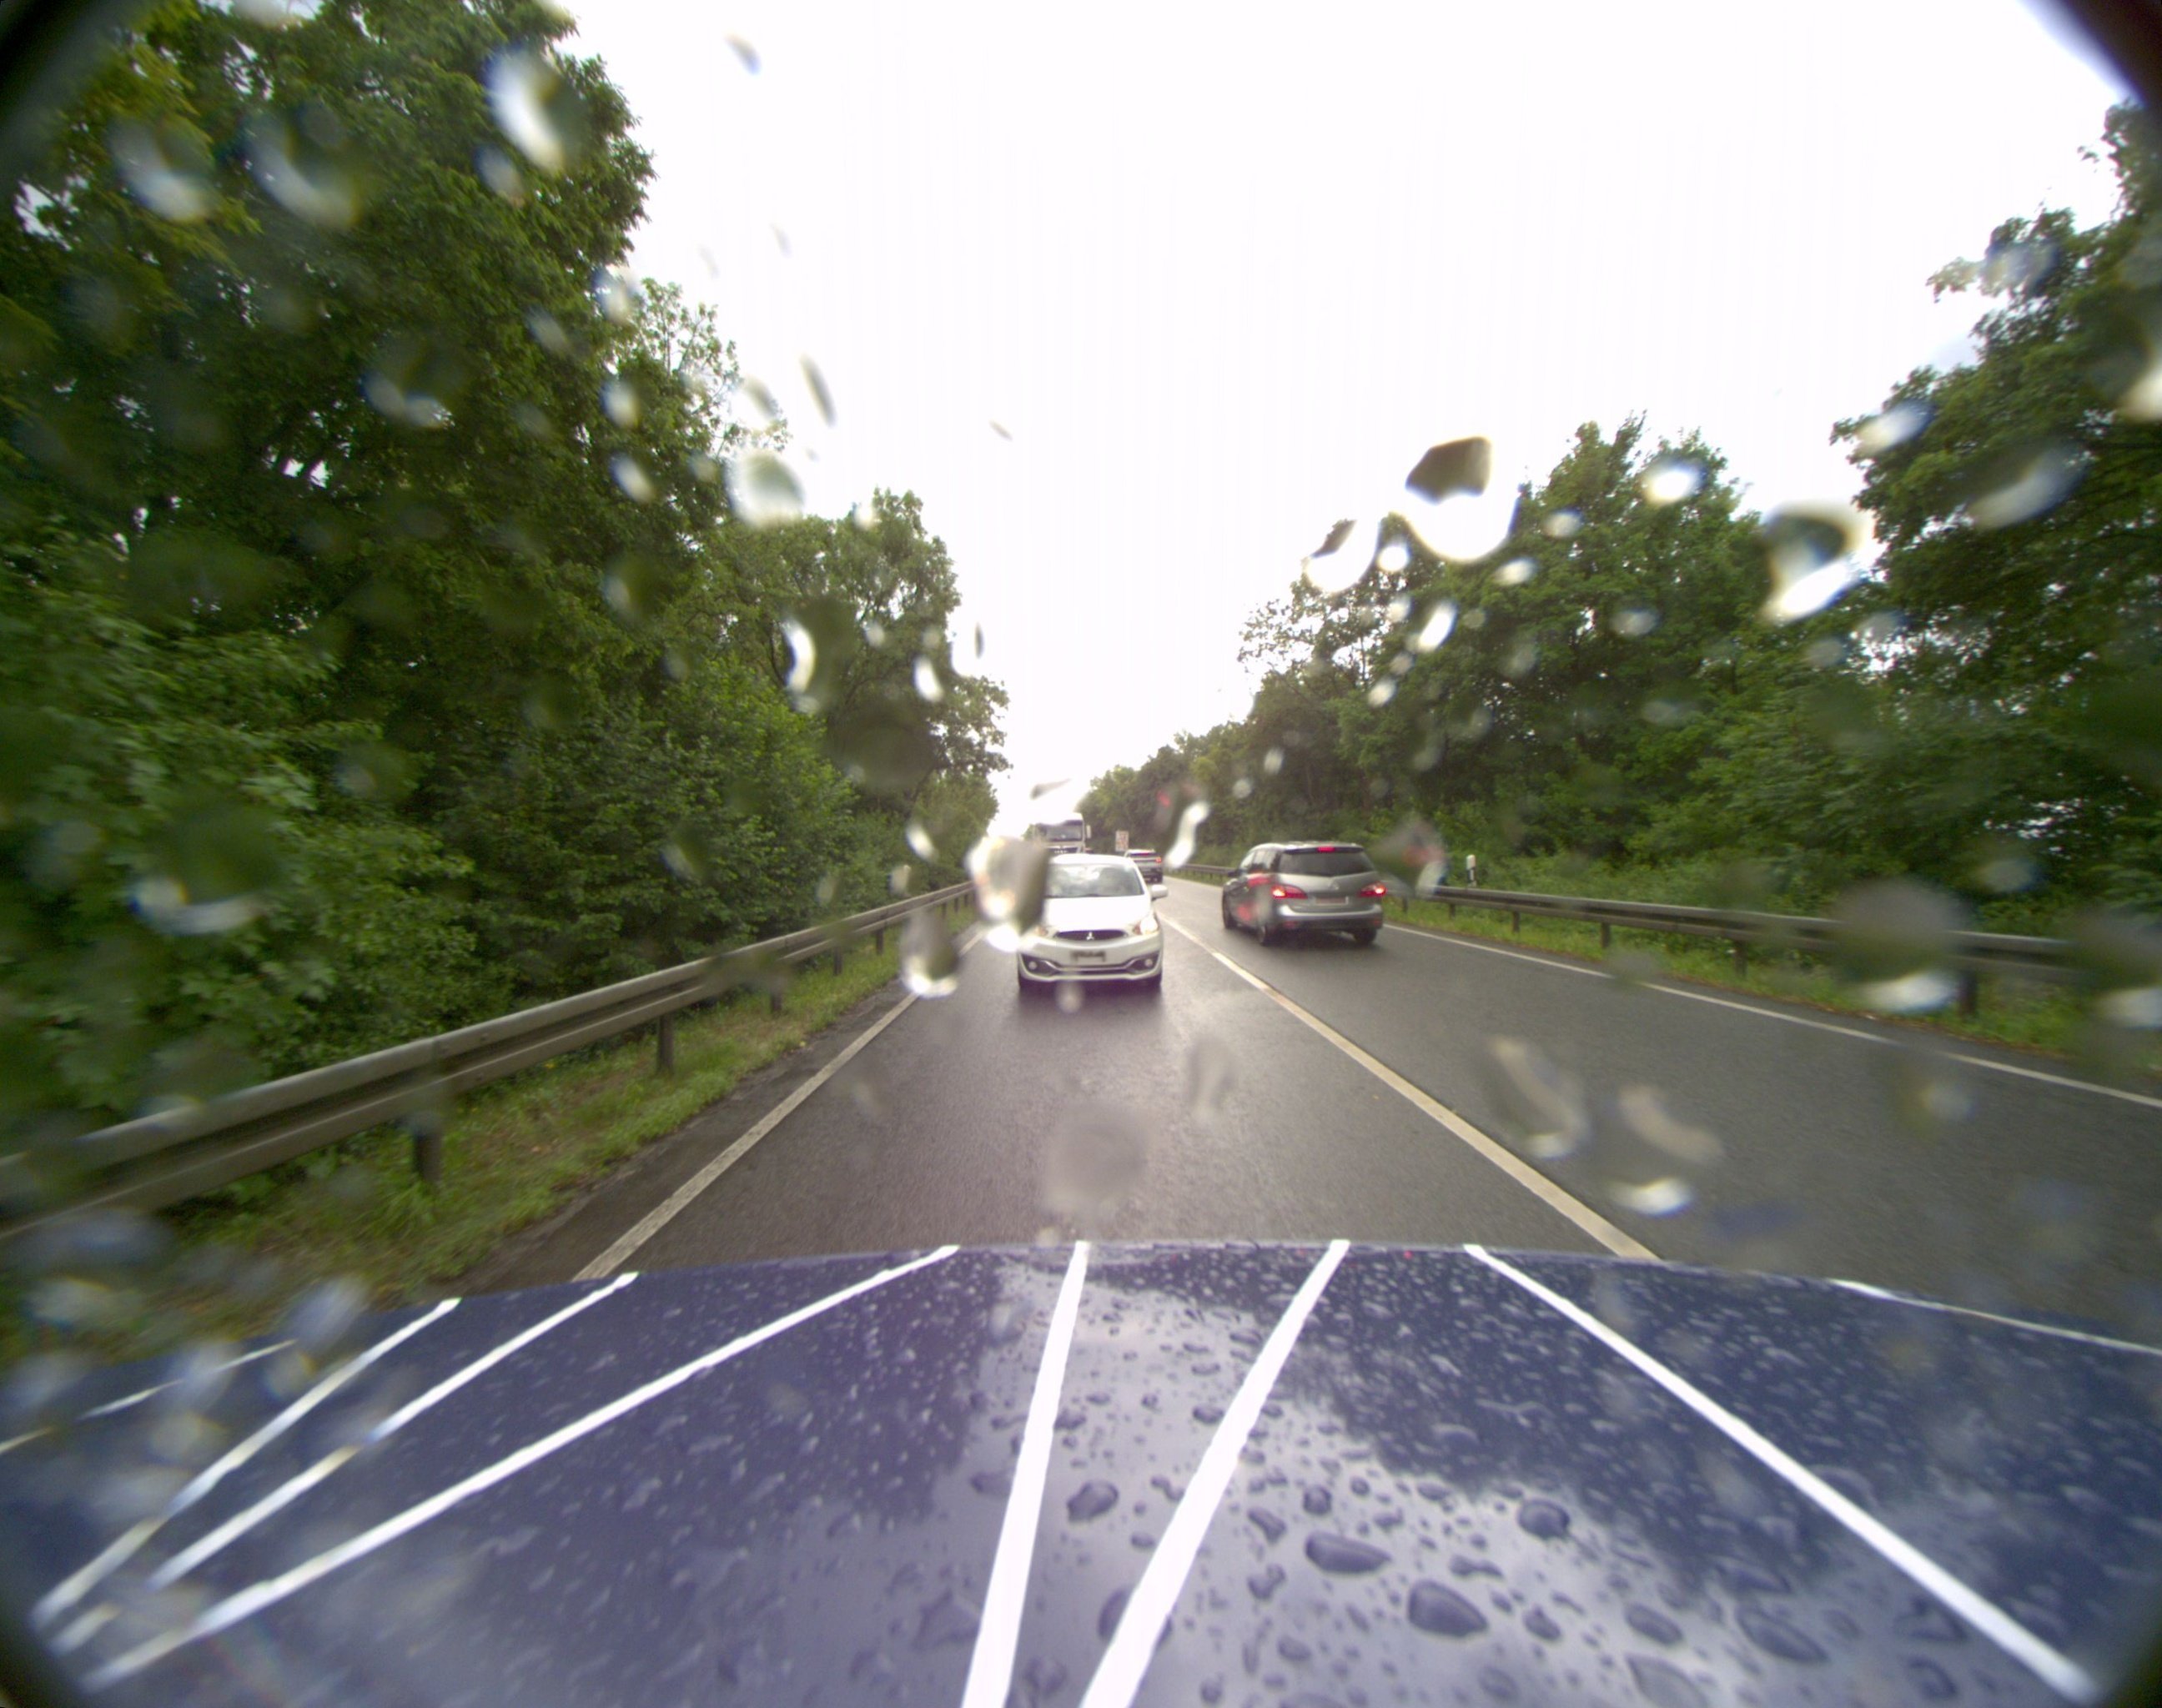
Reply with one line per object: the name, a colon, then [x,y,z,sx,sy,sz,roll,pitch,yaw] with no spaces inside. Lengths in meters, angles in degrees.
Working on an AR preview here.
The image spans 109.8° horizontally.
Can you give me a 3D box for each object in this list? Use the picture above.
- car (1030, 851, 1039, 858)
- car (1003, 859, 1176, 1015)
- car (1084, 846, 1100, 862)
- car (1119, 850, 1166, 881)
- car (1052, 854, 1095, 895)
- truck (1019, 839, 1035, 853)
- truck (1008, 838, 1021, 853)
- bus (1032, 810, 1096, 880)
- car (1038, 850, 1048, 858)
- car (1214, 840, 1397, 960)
car: [-9.598,0.062,156.019,1.535,1.459,3.072,-2,0,-7]
car: [0.045,0.852,9.716,1.701,1.471,4.062,-2,0,-1]
car: [1.082,0.002,75.256,1.176,1.519,2.893,-2,0,-6]
car: [2.972,0.520,37.251,1.885,1.412,3.999,-2,0,-1]
car: [-0.325,0.736,28.492,1.476,1.410,3.428,-1,0,-2]
truck: [-12.211,-1.785,171.335,2.433,2.982,6.937,-2,1,-12]
truck: [-17.975,-2.239,204.304,2.483,4.056,7.562,-2,1,-13]
bus: [-0.932,-0.506,44.827,3.063,3.405,13.638,-2,0,-1]
car: [-7.201,-0.009,142.601,1.535,1.459,3.072,-2,0,-7]
car: [3.533,0.639,12.770,1.801,1.650,4.082,-2,0,-1]
